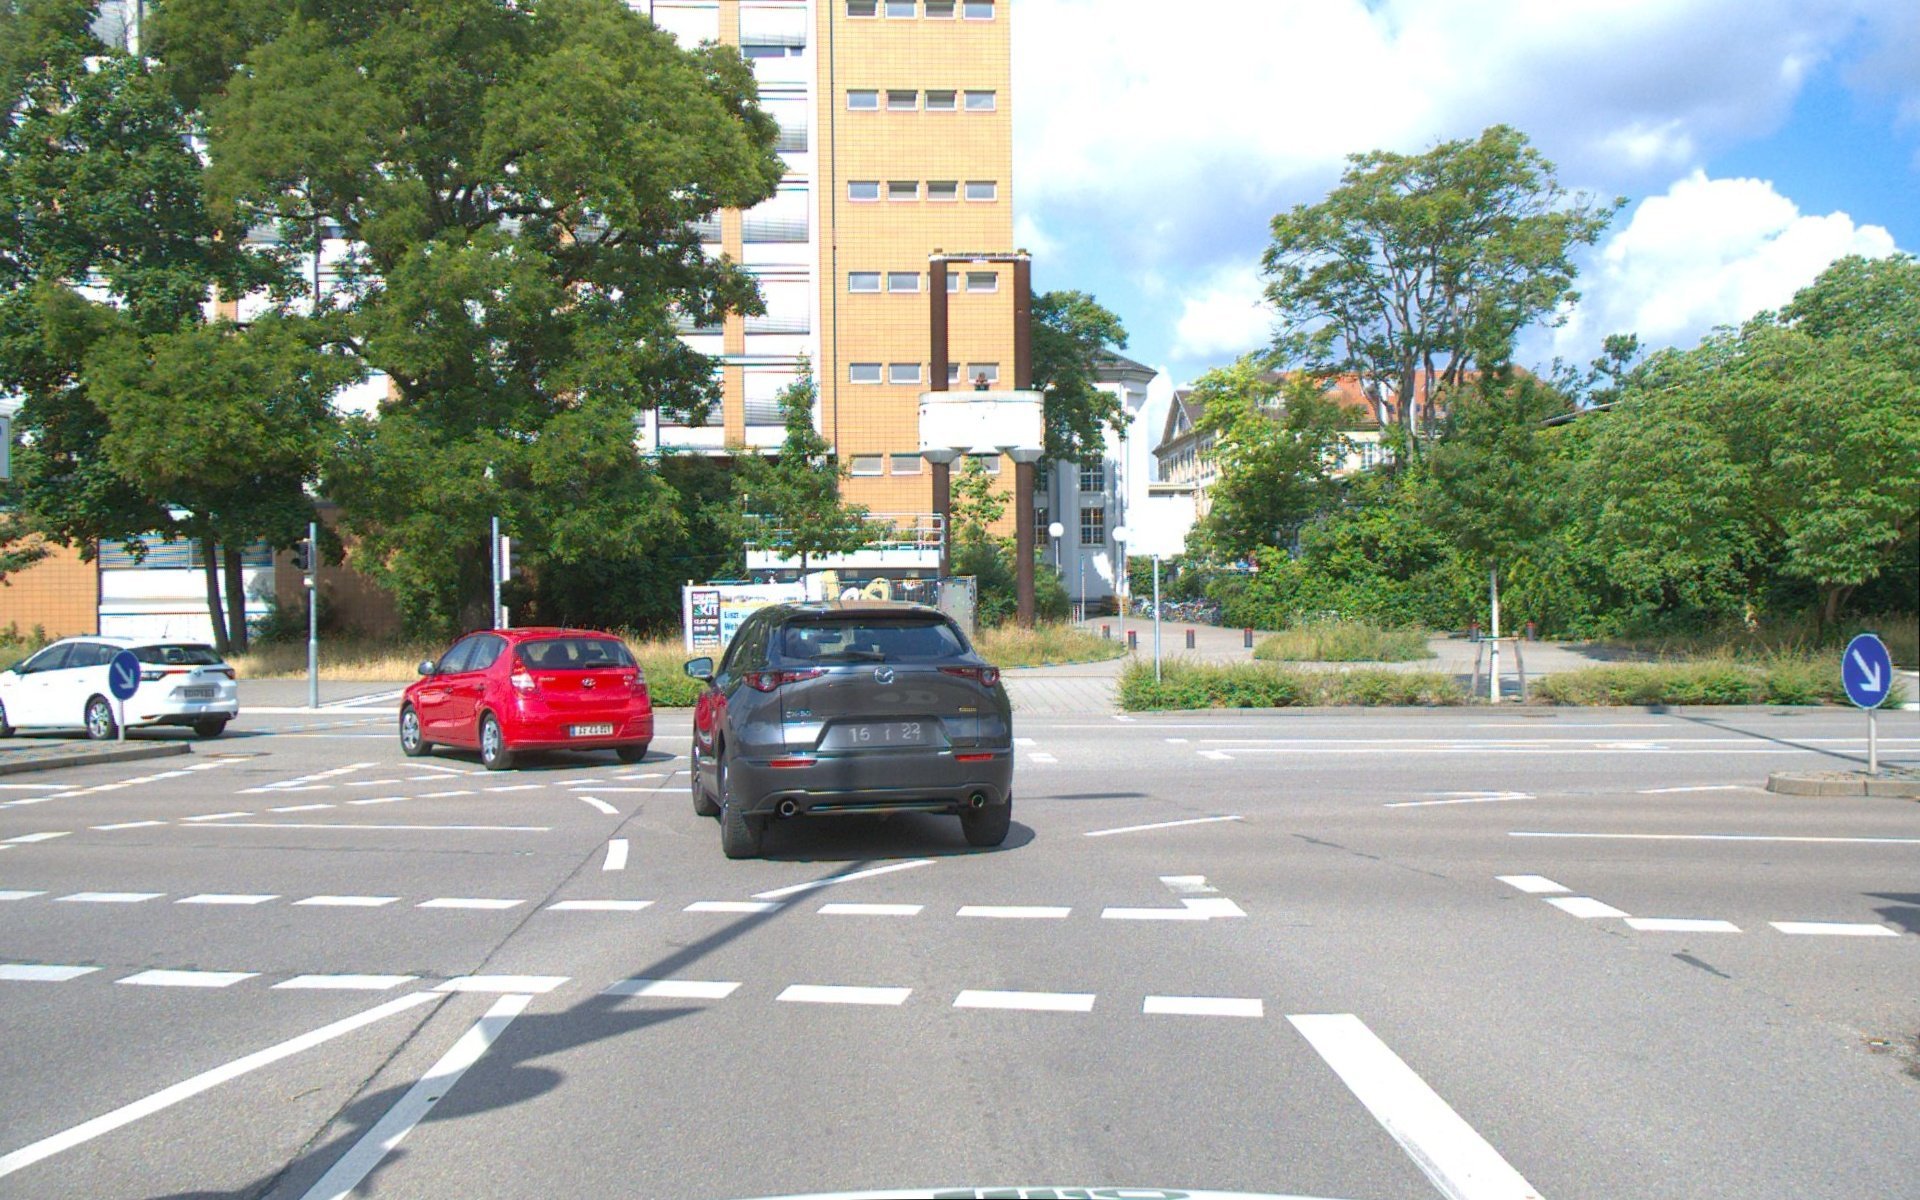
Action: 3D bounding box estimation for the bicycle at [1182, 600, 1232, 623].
[{"bbox_3d":[10.552,0.483,70.713,2.014,0.953,0.804,-1,0,-3],"label":"bicycle"}]

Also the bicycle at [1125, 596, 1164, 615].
[{"bbox_3d":[9.952,0.296,89.324,2.014,0.953,0.804,-1,0,-3],"label":"bicycle"}]

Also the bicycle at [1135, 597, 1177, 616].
[{"bbox_3d":[10.008,0.327,84.466,2.014,0.953,0.804,-1,0,-3],"label":"bicycle"}]

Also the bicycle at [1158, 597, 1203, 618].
[{"bbox_3d":[10.626,0.368,79.747,2.014,0.953,0.804,-1,0,-3],"label":"bicycle"}]

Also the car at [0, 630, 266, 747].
[{"bbox_3d":[-12.233,1.224,23.947,4.240,1.498,1.851,-1,0,30],"label":"car"}]

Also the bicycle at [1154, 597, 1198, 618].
[{"bbox_3d":[10.519,0.358,80.744,2.014,0.953,0.804,-1,0,-3],"label":"bicycle"}]

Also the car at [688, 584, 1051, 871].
[{"bbox_3d":[-0.821,0.736,11.290,1.775,1.534,4.190,-1,-1,-13],"label":"car"}]

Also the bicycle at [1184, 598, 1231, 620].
[{"bbox_3d":[11.206,0.407,74.951,2.014,0.953,0.804,-1,0,-3],"label":"bicycle"}]

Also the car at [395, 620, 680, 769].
[{"bbox_3d":[-4.888,0.984,18.744,1.802,1.465,4.015,0,-1,-36],"label":"car"}]

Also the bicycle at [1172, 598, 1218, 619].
[{"bbox_3d":[10.832,0.391,76.275,2.014,0.953,0.804,-1,0,-3],"label":"bicycle"}]

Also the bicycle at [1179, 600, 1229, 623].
[{"bbox_3d":[10.652,0.508,72.292,2.014,0.953,0.804,-1,0,-3],"label":"bicycle"}]
